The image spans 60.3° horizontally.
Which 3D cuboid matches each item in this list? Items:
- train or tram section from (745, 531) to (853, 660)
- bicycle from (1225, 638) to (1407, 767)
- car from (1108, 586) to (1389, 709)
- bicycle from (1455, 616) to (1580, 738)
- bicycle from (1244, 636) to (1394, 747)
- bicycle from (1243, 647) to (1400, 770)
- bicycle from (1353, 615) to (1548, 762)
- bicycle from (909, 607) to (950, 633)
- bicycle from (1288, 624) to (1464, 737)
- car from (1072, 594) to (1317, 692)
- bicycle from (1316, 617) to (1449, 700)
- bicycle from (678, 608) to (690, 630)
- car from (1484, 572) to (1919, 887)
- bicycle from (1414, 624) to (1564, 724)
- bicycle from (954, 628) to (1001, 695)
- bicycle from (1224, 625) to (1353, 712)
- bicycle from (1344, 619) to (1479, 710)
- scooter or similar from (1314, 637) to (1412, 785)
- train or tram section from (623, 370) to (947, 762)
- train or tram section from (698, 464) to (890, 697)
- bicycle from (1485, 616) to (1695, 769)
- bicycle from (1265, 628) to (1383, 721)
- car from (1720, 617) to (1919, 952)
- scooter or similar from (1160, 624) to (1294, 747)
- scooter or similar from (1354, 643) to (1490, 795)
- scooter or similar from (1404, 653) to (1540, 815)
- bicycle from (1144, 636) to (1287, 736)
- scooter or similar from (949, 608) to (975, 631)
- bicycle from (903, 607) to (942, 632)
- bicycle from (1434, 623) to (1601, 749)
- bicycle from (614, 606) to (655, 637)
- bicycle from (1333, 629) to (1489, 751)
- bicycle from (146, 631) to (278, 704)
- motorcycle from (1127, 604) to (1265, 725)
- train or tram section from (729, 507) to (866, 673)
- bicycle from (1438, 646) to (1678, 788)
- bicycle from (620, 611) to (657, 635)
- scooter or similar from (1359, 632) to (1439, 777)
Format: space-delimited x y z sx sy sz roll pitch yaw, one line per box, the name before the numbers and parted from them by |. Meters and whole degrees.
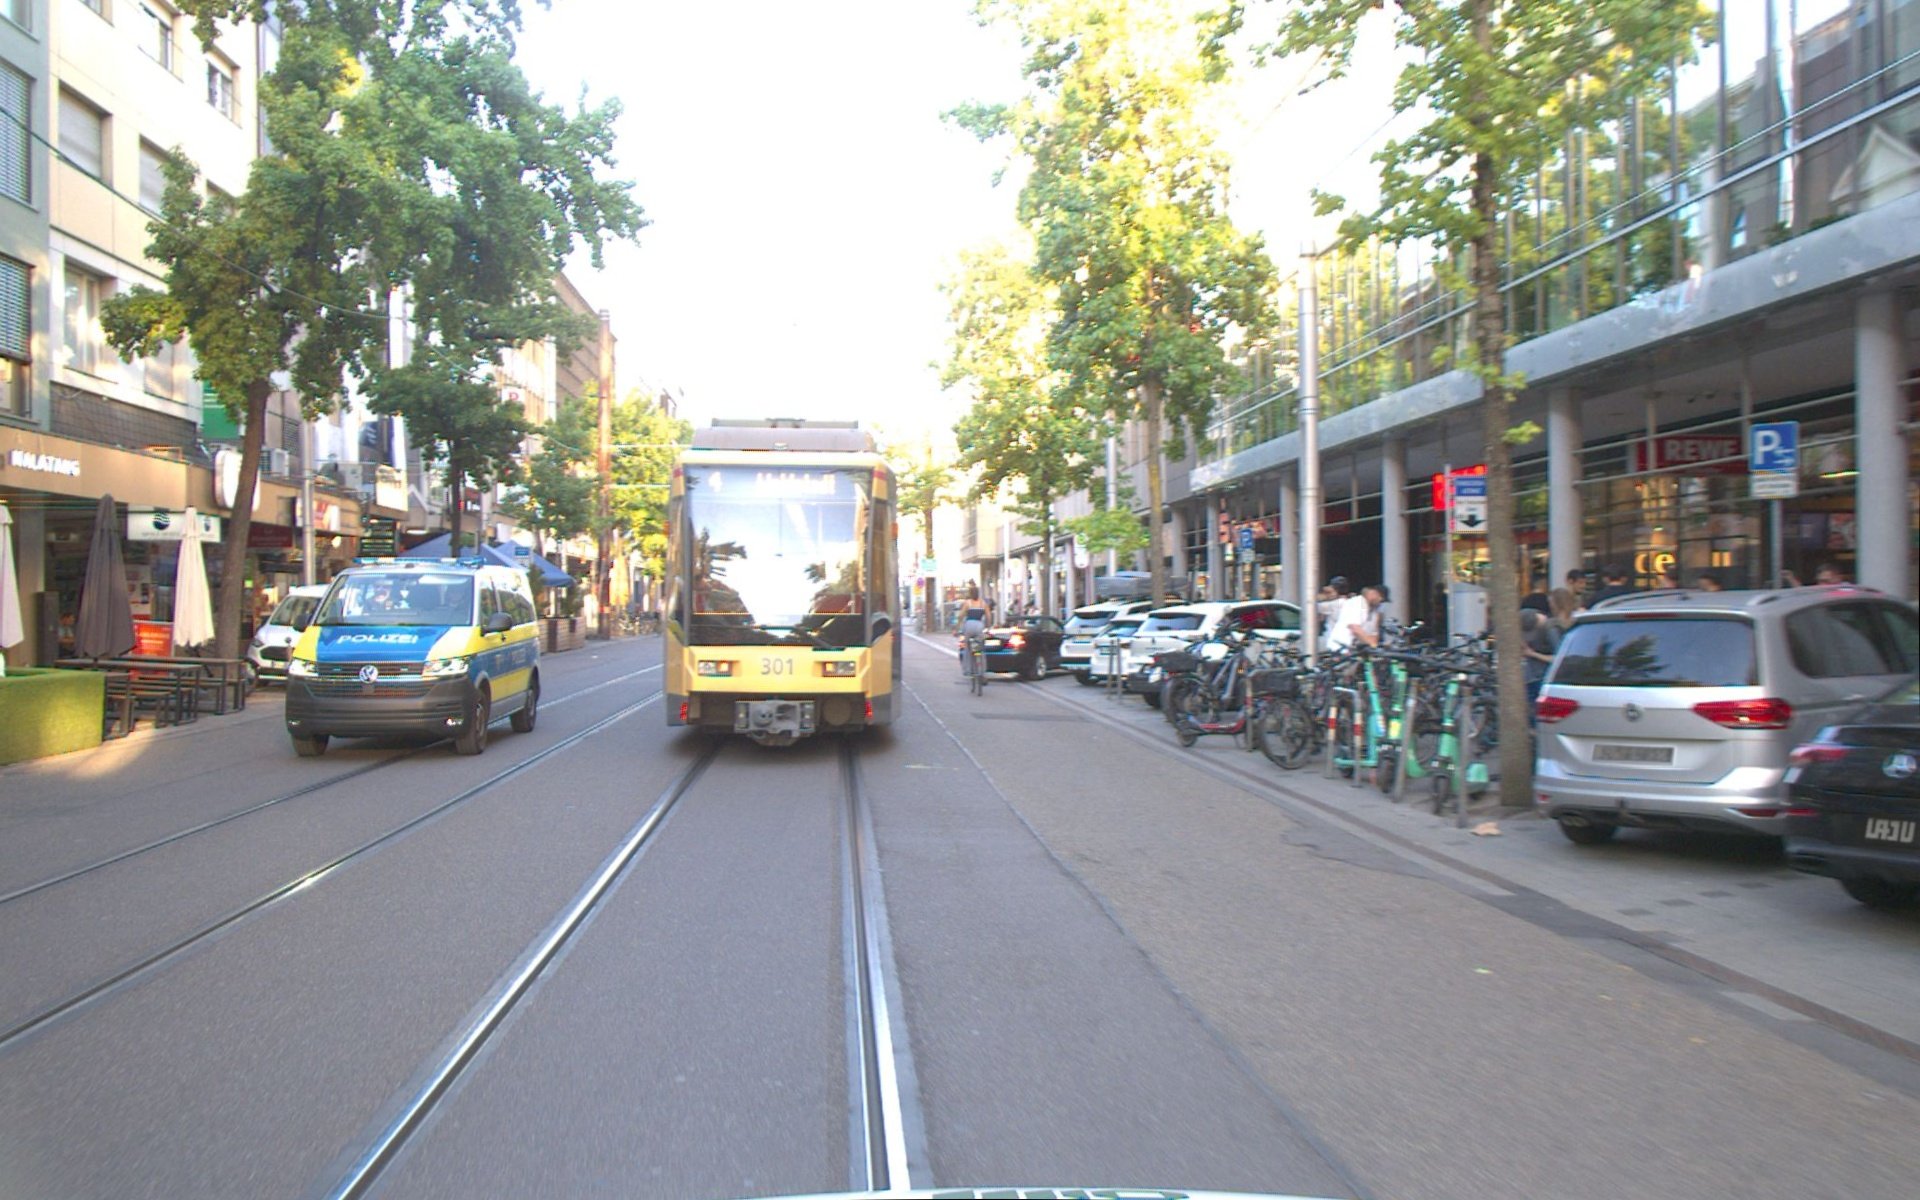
train or tram section | -5.031 -0.084 51.979 2.985 3.585 10.518 1 0 -5
bicycle | 3.708 1.027 17.142 1.971 1.149 0.672 -3 1 -35
car | 4.532 0.694 25.663 4.300 1.590 1.852 -3 0 -38
bicycle | 6.149 0.822 18.201 1.682 1.210 0.546 -3 1 -43
bicycle | 4.111 1.019 18.866 1.814 1.095 0.616 -4 1 -37
bicycle | 3.669 1.071 16.713 1.729 1.095 0.488 -3 1 -36
bicycle | 4.827 0.837 16.263 1.803 1.296 0.676 -3 1 -24
bicycle | -1.787 1.176 95.829 2.285 1.497 0.789 0 -1 -9
bicycle | 4.908 0.920 19.484 1.967 1.168 0.693 -3 1 -24
car | 4.317 0.766 30.332 4.124 1.483 1.847 -3 0 -28
bicycle | 6.249 0.846 24.464 1.725 1.137 0.927 -2 0 -29
bicycle | -14.535 1.016 87.125 0.600 1.146 2.246 3 -1 -10
car | 5.765 0.699 11.412 4.633 1.668 1.926 -3 0 -41
bicycle | 6.449 0.872 20.131 1.813 1.113 0.814 -2 0 -36
bicycle | 0.289 1.059 29.023 0.643 1.079 2.055 1 0 -4
bicycle | 4.726 0.966 23.750 1.733 1.137 0.906 -2 0 -39
bicycle | 6.223 0.866 22.765 1.770 1.136 0.834 -2 0 -35
scooter or similar | 3.638 0.981 14.986 0.472 1.243 1.213 -2 0 -4
train or tram section | -2.084 -0.271 20.421 2.958 3.585 10.358 0 -1 -5
train or tram section | -3.044 -0.265 30.758 2.949 3.585 10.389 0 0 -5
bicycle | 5.610 0.813 14.754 1.626 1.271 0.640 -2 1 31
bicycle | 4.806 0.967 21.816 1.579 1.051 0.547 -6 2 -35
car | 6.215 0.765 8.484 4.285 1.447 1.938 -3 0 -27
scooter or similar | 3.041 0.949 18.915 0.691 1.327 1.371 -2 0 -43
scooter or similar | 3.968 0.993 14.177 1.321 1.202 0.491 -1 0 -43
scooter or similar | 4.153 1.046 13.362 0.569 1.170 1.394 -1 1 38
bicycle | 3.226 1.051 20.822 1.731 1.136 0.796 -2 0 -37
scooter or similar | 0.112 1.084 90.550 1.358 1.232 0.513 -1 -1 -19
bicycle | -2.250 1.181 99.891 2.285 1.497 0.789 0 -1 -9
bicycle | 5.762 0.869 17.074 1.665 1.169 0.499 -3 1 -21
bicycle | -15.127 1.009 76.855 1.769 1.384 0.657 3 -2 -17
bicycle | 4.802 0.932 17.572 1.660 1.158 0.475 -3 1 -25
bicycle | -11.845 1.049 26.261 0.599 1.087 2.018 0 0 24
motorcycle | 3.242 0.841 22.526 0.781 1.497 2.193 -1 1 41
train or tram section | -4.029 -0.192 41.331 2.945 3.585 10.832 0 0 -5
bicycle | 5.102 0.965 14.211 0.625 1.095 1.852 -3 1 -40
bicycle | -15.750 1.127 80.956 1.701 1.146 0.562 3 -2 -9
scooter or similar | 4.050 0.944 15.311 0.556 1.226 1.282 -2 0 10
